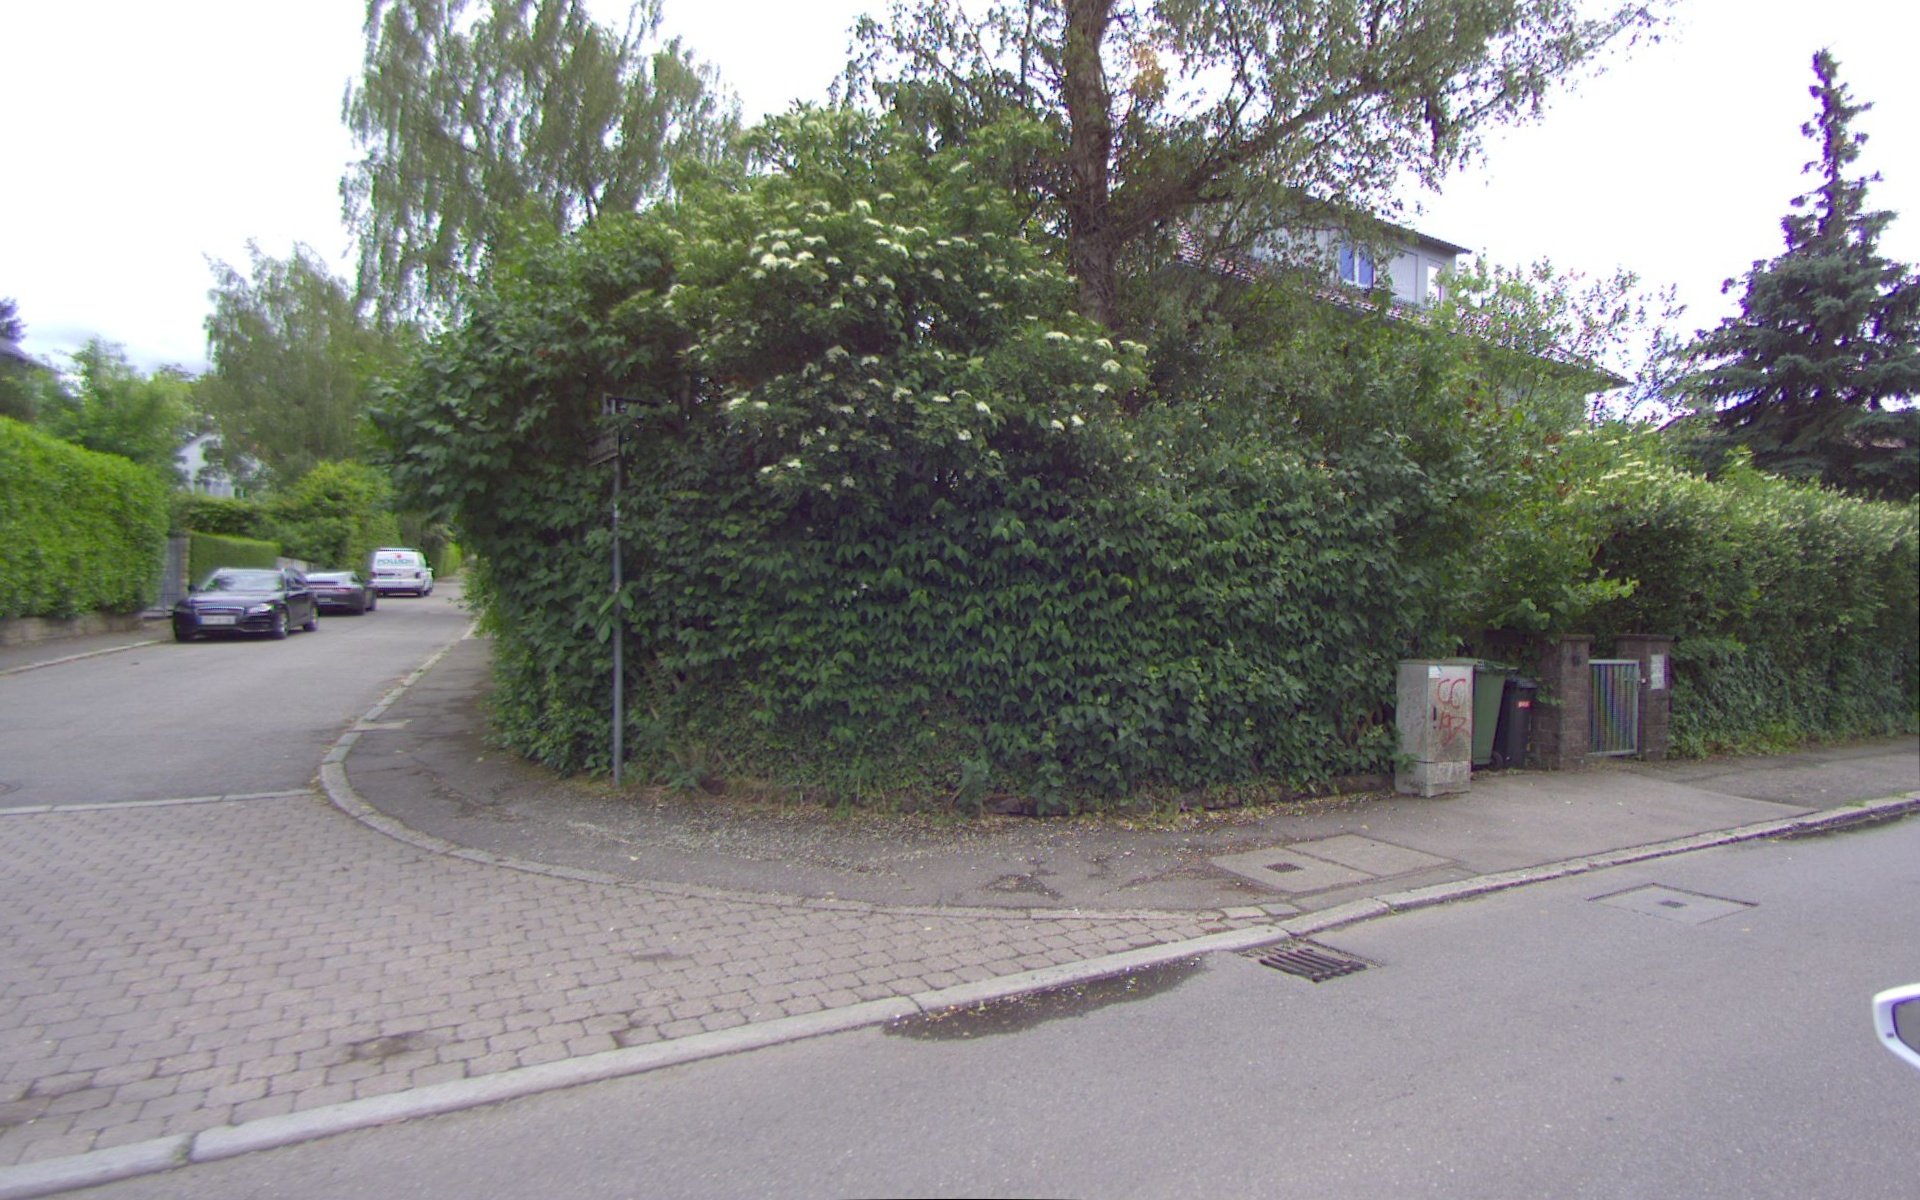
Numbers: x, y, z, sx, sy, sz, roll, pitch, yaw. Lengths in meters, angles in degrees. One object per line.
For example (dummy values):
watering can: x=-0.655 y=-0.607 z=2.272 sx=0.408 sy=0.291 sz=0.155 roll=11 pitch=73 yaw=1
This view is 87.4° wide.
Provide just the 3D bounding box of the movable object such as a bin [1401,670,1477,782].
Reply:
movable object such as a bin: x=4.431 y=1.153 z=9.295 sx=0.507 sy=0.964 sz=0.376 roll=2 pitch=2 yaw=-33

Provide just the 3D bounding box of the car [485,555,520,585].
car: x=-30.022 y=-1.951 z=65.979 sx=1.820 sy=1.865 sz=3.980 roll=1 pitch=2 yaw=-20

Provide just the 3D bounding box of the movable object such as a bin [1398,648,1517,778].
movable object such as a bin: x=4.855 y=1.072 z=9.817 sx=0.715 sy=1.141 sz=0.723 roll=2 pitch=2 yaw=-33

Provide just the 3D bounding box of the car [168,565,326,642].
car: x=-14.713 y=0.010 z=20.978 sx=1.821 sy=1.435 sz=3.978 roll=1 pitch=2 yaw=-22

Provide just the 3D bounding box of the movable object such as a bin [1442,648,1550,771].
movable object such as a bin: x=5.458 y=1.091 z=10.251 sx=0.579 sy=1.132 sz=0.723 roll=2 pitch=2 yaw=-33

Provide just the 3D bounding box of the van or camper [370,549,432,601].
van or camper: x=-23.922 y=-1.099 z=43.106 sx=1.911 sy=2.097 sz=3.977 roll=1 pitch=2 yaw=-23
